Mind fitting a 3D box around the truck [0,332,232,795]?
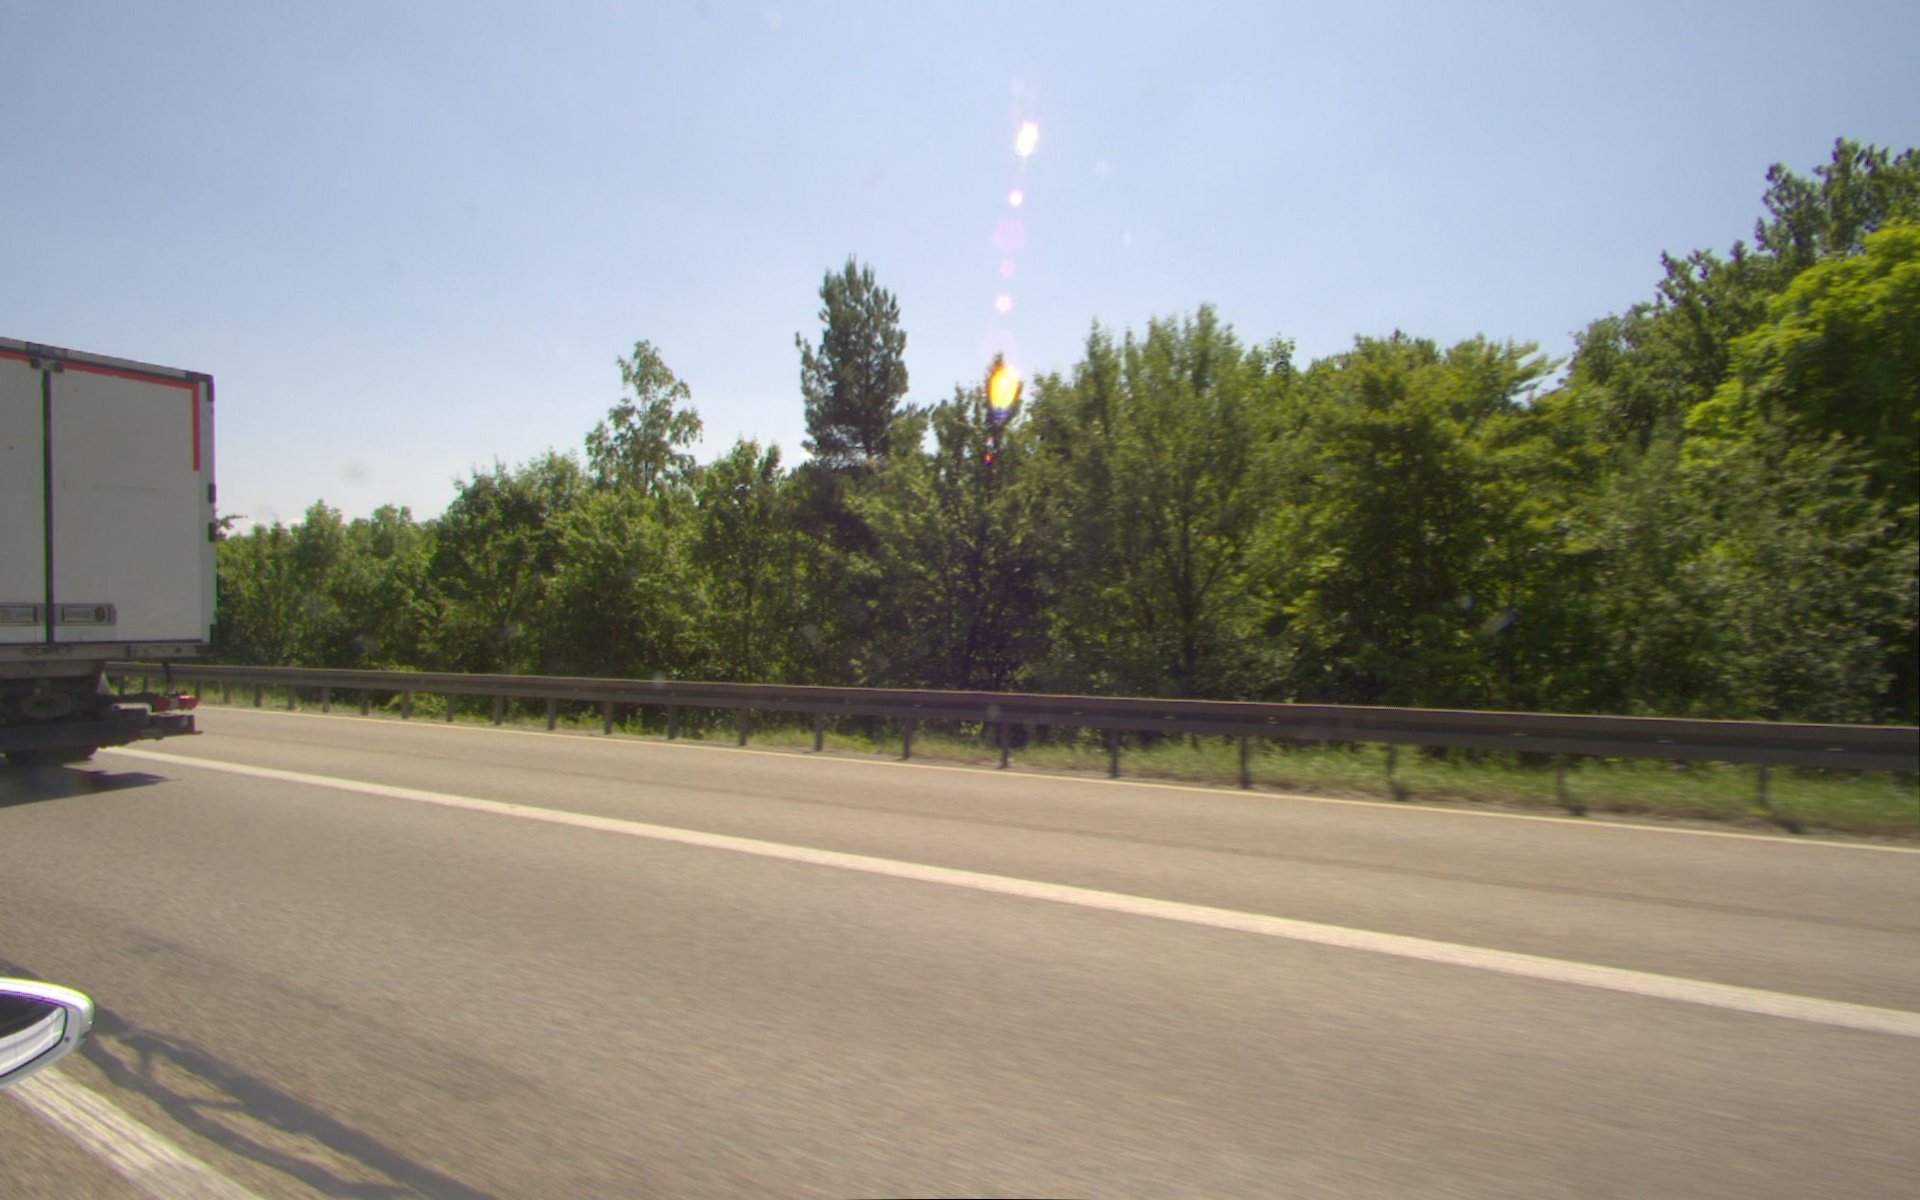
[{"bbox_3d":[-12.075,-0.257,11.311,9.637,3.927,2.683,-1,0,31],"label":"truck"}]
